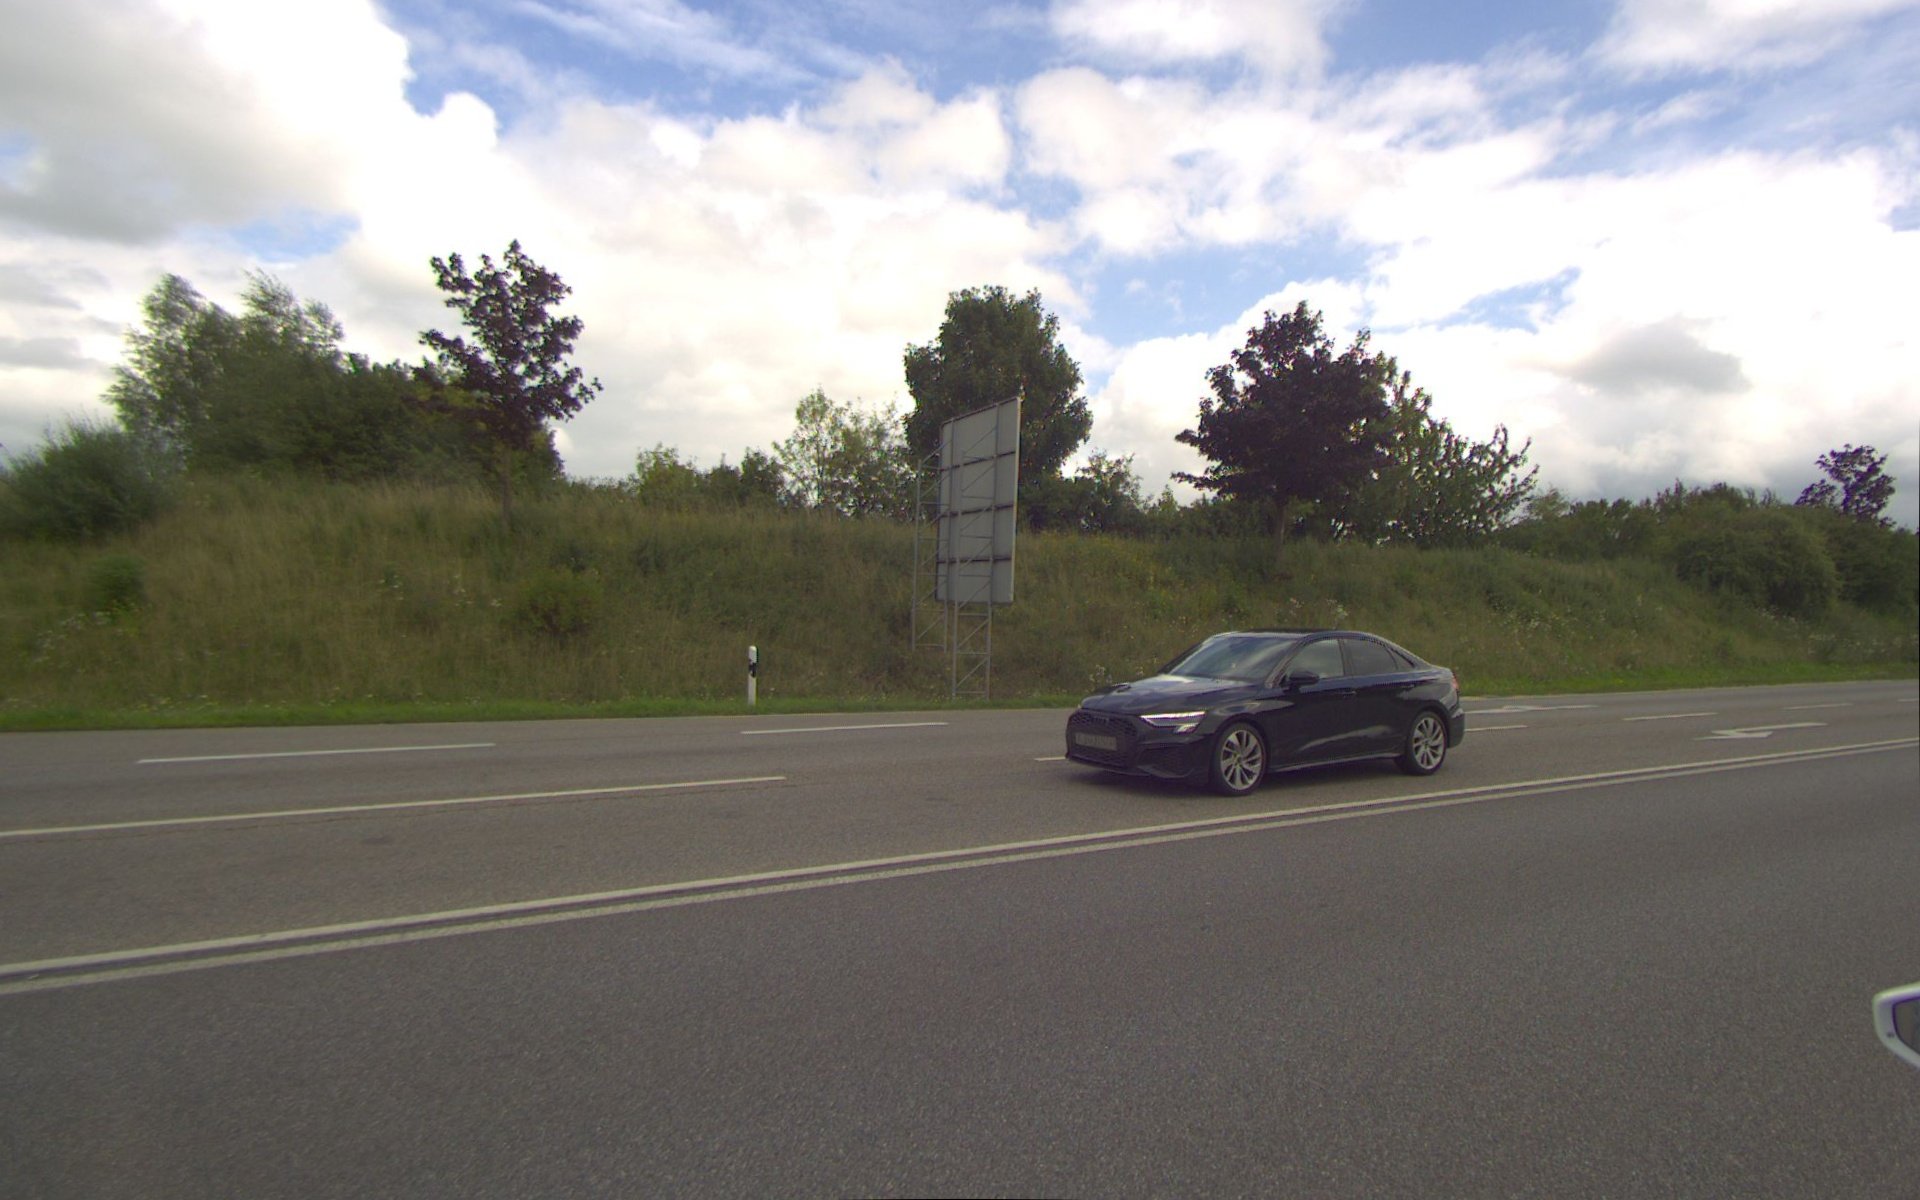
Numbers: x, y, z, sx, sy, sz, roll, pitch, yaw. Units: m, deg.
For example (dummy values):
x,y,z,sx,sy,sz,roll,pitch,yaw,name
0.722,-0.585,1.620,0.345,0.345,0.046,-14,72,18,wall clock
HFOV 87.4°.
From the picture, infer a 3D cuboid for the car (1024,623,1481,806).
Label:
x,y,z,sx,sy,sz,roll,pitch,yaw,name
2.972,0.974,9.863,4.492,1.401,1.756,2,-1,-32,car
